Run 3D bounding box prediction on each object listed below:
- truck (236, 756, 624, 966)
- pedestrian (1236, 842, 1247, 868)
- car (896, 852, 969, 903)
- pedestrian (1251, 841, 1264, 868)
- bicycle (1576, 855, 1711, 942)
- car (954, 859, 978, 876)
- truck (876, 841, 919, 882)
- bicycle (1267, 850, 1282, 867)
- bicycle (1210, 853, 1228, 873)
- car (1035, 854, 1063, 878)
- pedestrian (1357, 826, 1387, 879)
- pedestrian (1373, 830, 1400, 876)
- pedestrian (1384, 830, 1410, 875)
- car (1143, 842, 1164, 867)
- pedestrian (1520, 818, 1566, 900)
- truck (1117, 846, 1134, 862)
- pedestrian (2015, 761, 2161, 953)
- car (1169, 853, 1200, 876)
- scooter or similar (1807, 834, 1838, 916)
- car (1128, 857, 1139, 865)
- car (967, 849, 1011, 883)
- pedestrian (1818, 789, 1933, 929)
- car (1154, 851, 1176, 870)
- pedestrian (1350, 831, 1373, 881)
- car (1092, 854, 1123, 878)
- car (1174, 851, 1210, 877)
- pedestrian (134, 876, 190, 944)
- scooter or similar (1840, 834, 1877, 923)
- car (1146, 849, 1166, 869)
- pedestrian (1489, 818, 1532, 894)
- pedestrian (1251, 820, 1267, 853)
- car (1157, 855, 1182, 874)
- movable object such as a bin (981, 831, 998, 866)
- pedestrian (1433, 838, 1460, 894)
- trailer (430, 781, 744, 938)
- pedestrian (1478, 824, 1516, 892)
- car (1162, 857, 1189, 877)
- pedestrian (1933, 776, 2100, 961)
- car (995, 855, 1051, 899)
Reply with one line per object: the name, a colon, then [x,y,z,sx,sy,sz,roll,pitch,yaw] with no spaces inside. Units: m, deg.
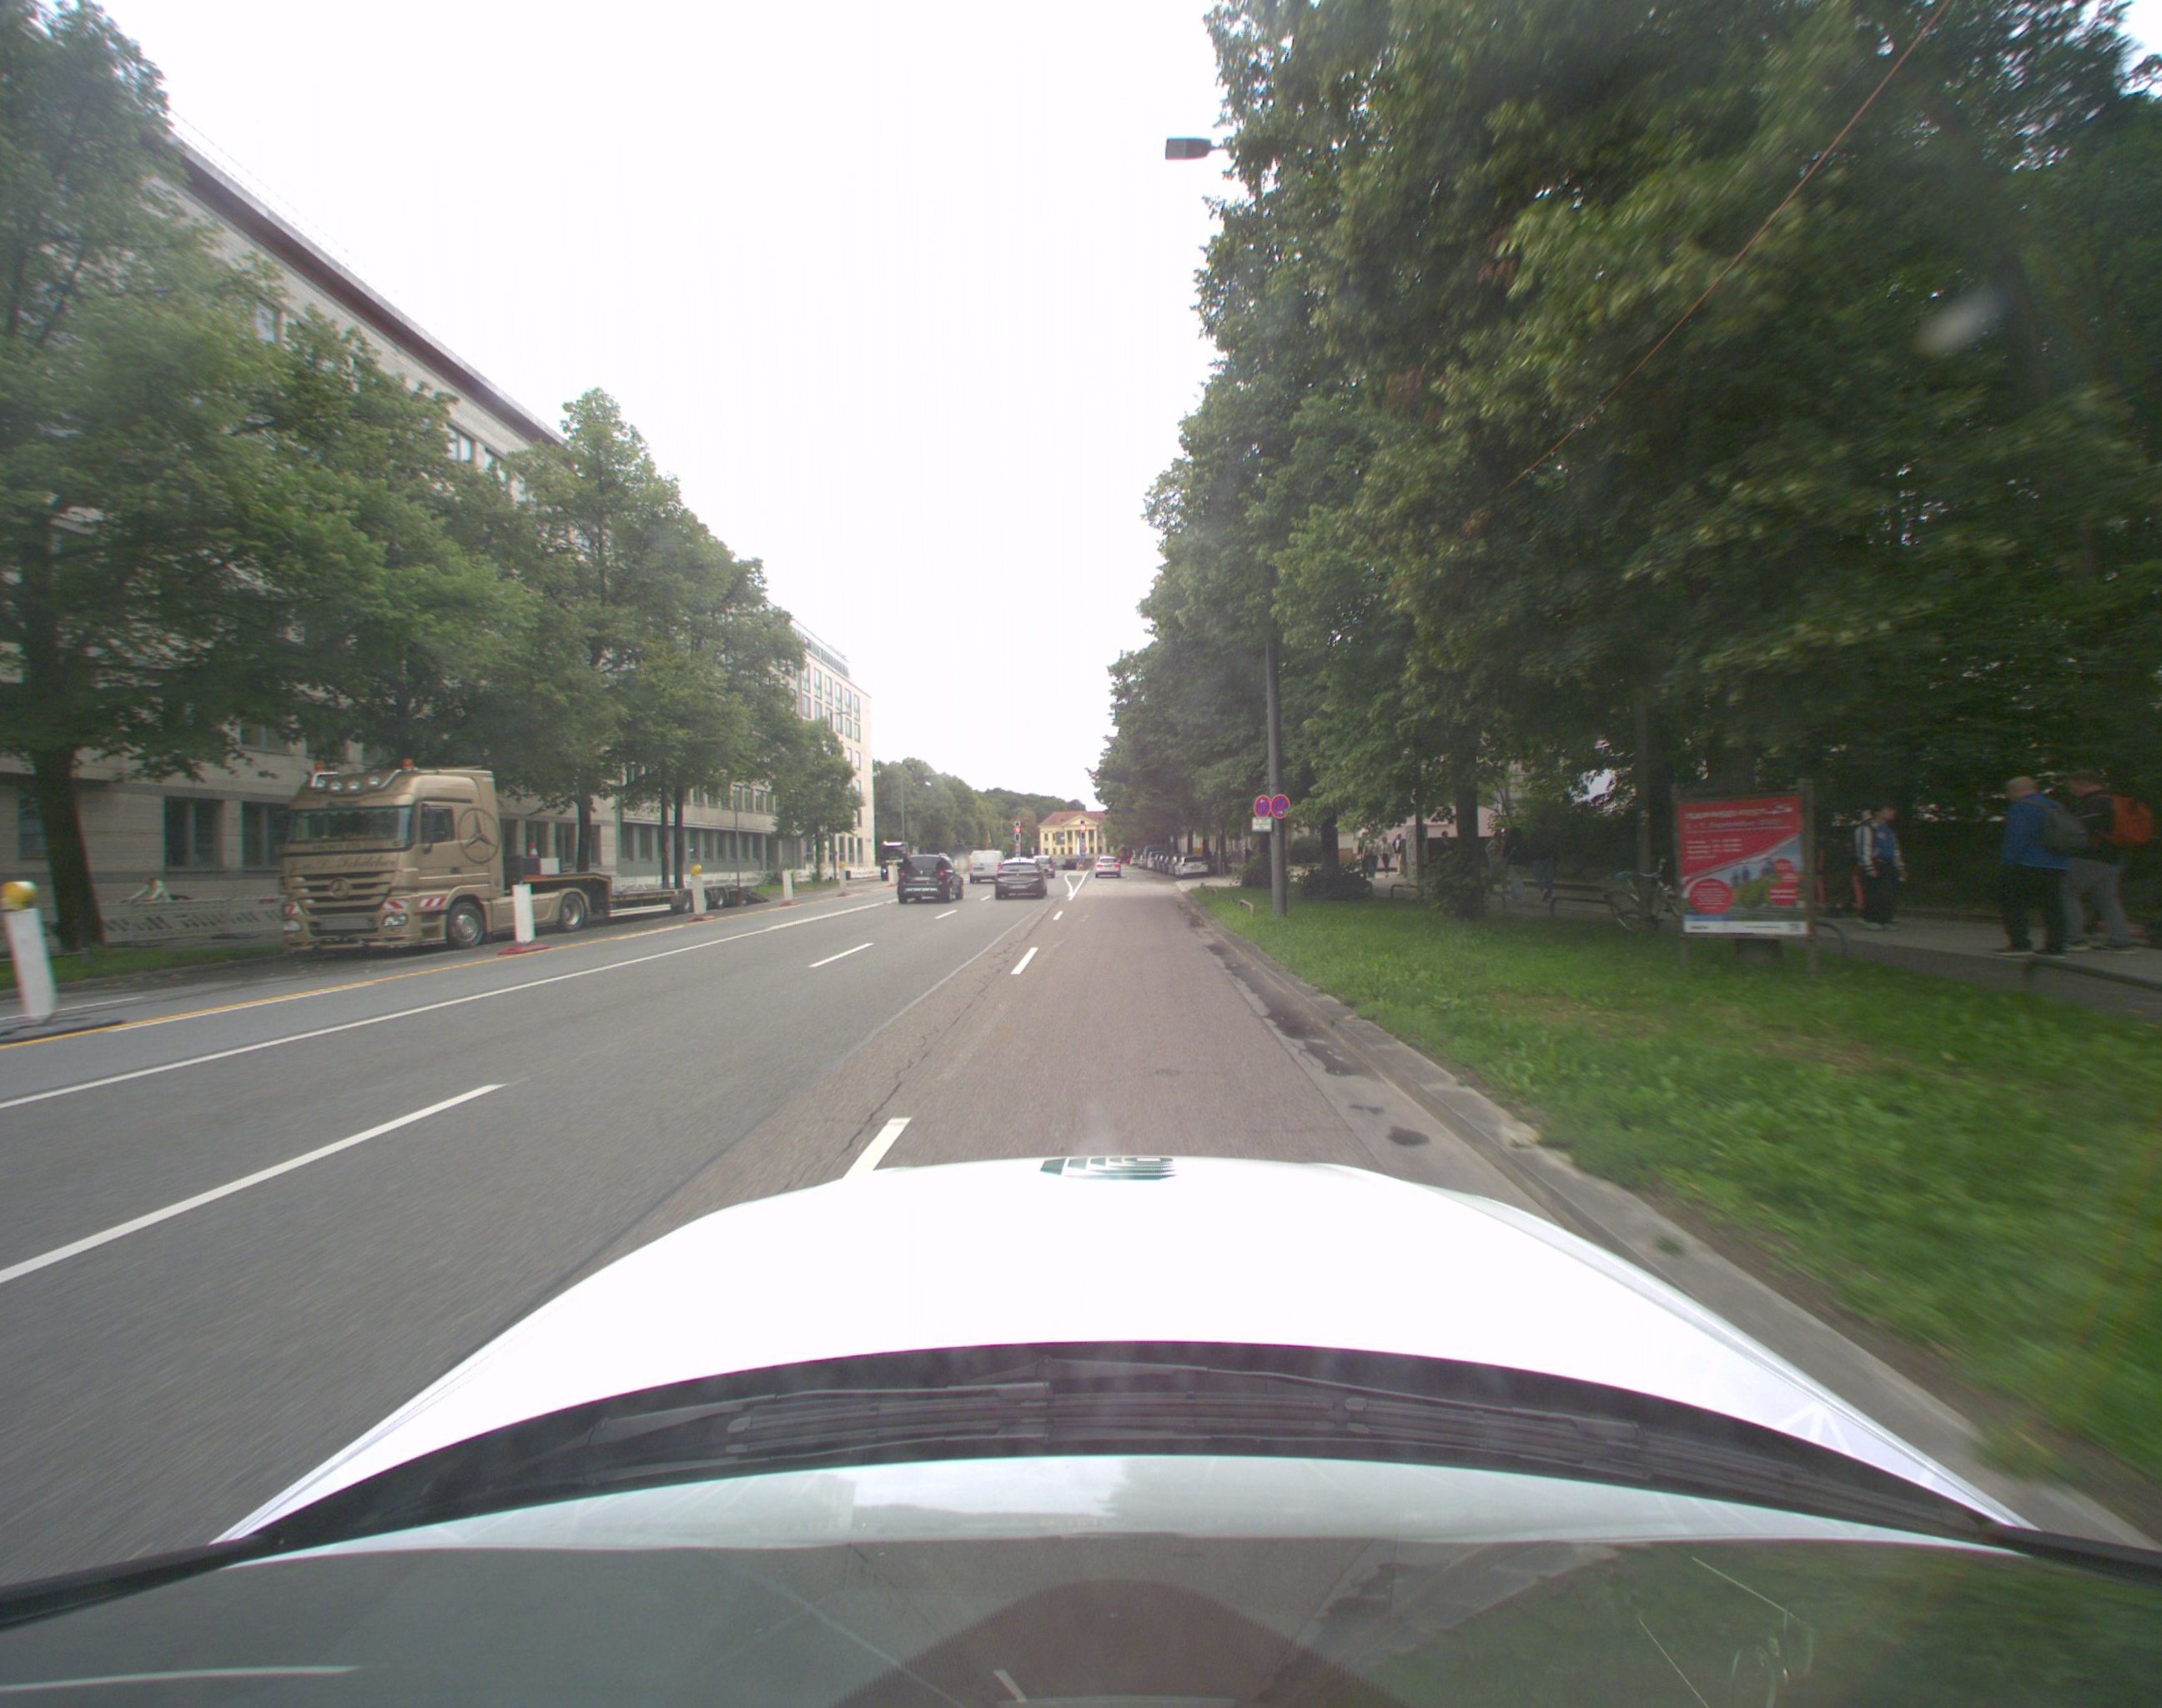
truck: [-13.882,0.126,18.549,2.909,3.775,7.658,0,0,-3]
pedestrian: [11.664,0.059,59.154,0.696,1.910,0.771,0,-1,2]
car: [-5.192,0.801,28.936,1.716,1.636,4.205,-2,-1,1]
pedestrian: [12.800,0.037,59.099,0.761,1.910,0.771,0,-1,2]
bicycle: [7.289,0.530,10.674,0.383,1.021,2.080,0,0,2]
car: [-11.953,1.397,85.004,1.988,1.596,3.997,-2,0,-2]
truck: [-16.007,0.600,71.580,2.838,3.357,8.743,0,0,-7]
bicycle: [16.406,0.398,69.158,0.696,1.415,2.299,-2,0,2]
bicycle: [8.731,0.573,51.619,0.626,1.231,2.618,0,0,0]
car: [-2.260,0.820,58.491,1.773,1.654,4.001,0,0,1]
pedestrian: [11.425,-0.070,32.007,0.760,2.013,0.777,-4,-1,2]
pedestrian: [12.333,-0.021,32.921,0.597,1.809,0.719,-3,-1,-23]
pedestrian: [13.114,-0.041,33.790,0.597,1.809,0.719,-3,-1,-23]
car: [8.012,0.034,90.344,1.987,2.643,4.877,0,0,0]
pedestrian: [10.268,0.108,18.104,0.605,1.763,0.798,0,0,5]
truck: [9.464,-0.010,174.156,3.313,3.367,8.665,0,0,2]
pedestrian: [10.177,0.029,8.187,0.585,1.822,0.850,0,0,2]
car: [7.276,0.719,57.470,1.718,1.549,4.588,-2,0,2]
scooter or similar: [11.490,0.304,12.626,0.301,1.224,0.932,-2,-1,41]
car: [8.794,1.210,137.104,1.718,1.324,4.030,-2,0,2]
car: [-5.389,0.719,48.138,1.892,1.847,4.956,-2,-1,1]
pedestrian: [10.305,0.060,10.602,0.749,1.737,0.853,0,-1,17]
car: [7.786,0.581,75.791,1.718,1.665,4.592,-2,0,2]
pedestrian: [11.556,0.088,33.522,0.592,2.013,0.725,-4,-1,2]
car: [1.811,0.809,57.283,1.775,1.644,3.995,0,0,-4]
car: [7.056,0.619,52.198,1.820,1.549,4.754,-2,0,2]
pedestrian: [-23.892,1.445,21.191,0.576,1.732,0.764,0,0,2]
scooter or similar: [11.096,0.330,11.636,0.301,1.224,0.932,-2,-1,41]
car: [7.672,0.501,83.362,1.718,1.867,4.030,-2,0,2]
pedestrian: [9.650,0.046,18.324,0.605,1.681,0.755,0,0,5]
pedestrian: [10.603,-1.044,48.441,0.776,1.910,0.771,0,-1,2]
car: [7.551,0.887,69.798,1.815,1.464,4.030,-2,0,2]
movable object such as a bin: [-17.633,-1.060,157.266,2.689,6.511,5.178,0,0,2]
pedestrian: [11.199,0.361,24.959,0.577,1.675,0.554,0,-1,5]
trailer: [-14.178,0.144,25.258,2.942,3.740,11.760,0,0,-2]
pedestrian: [11.144,0.103,21.835,0.627,1.774,0.783,0,0,5]
car: [7.396,0.999,64.065,1.718,1.464,4.778,-2,0,2]
pedestrian: [9.335,0.142,8.170,0.749,1.737,0.853,0,-1,17]
car: [-2.146,0.831,31.070,1.704,1.552,4.001,0,0,2]
